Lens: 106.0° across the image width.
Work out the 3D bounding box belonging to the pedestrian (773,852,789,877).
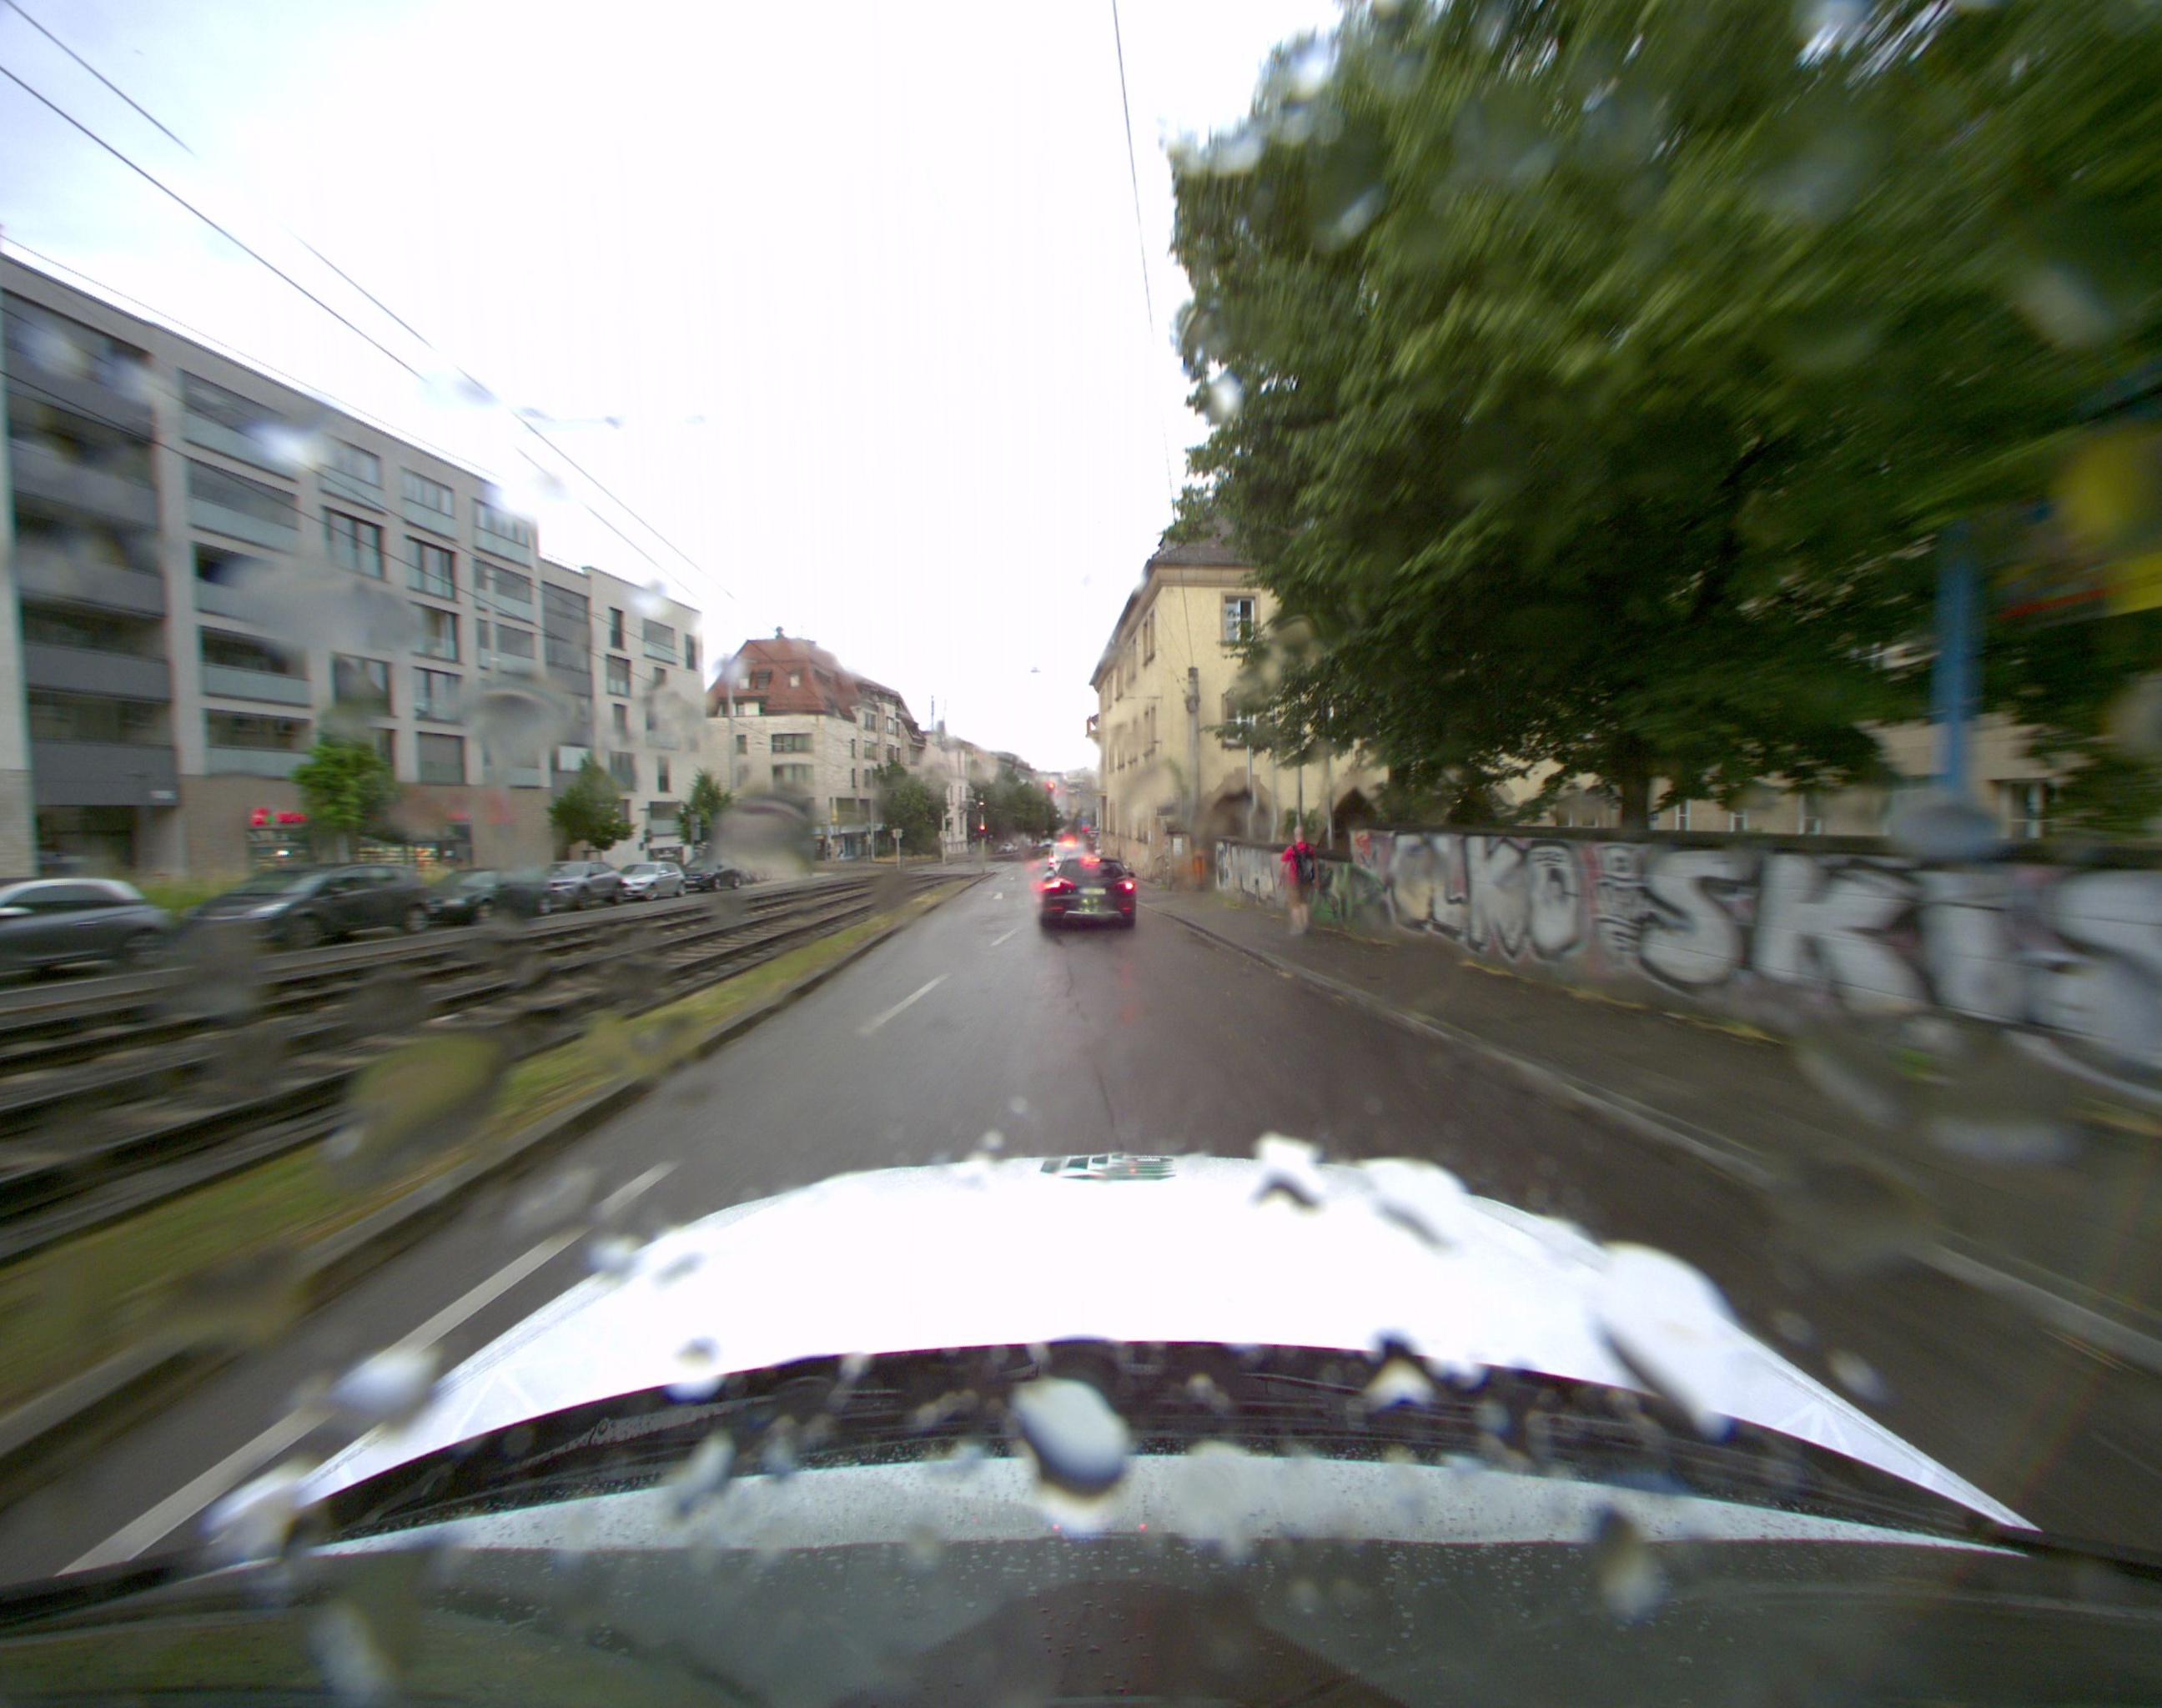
[{"bbox_3d":[-24.540,0.836,66.621,0.940,2.013,0.764,-1,0,-4],"label":"pedestrian"}]

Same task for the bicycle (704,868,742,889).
[{"bbox_3d":[-18.896,1.291,43.001,1.799,1.064,0.455,0,0,-15],"label":"bicycle"}]

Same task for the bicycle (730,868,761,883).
[{"bbox_3d":[-20.103,1.300,48.791,1.652,0.866,0.566,0,0,-14],"label":"bicycle"}]

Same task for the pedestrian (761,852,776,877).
[{"bbox_3d":[-25.553,0.856,66.587,0.941,2.013,0.763,-1,0,-8],"label":"pedestrian"}]

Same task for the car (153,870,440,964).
[{"bbox_3d":[-15.484,1.142,16.486,1.715,1.513,4.314,-2,0,-3],"label":"car"}]

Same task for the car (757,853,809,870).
[{"bbox_3d":[-27.607,0.687,75.475,4.113,1.568,1.826,-1,0,5],"label":"car"}]

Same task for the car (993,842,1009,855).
[{"bbox_3d":[-12.450,-0.840,127.271,1.986,2.013,4.001,-1,0,1],"label":"car"}]

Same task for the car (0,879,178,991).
[{"bbox_3d":[-15.419,1.149,11.496,1.545,1.435,3.447,-2,0,-3],"label":"car"}]

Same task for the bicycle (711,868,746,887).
[{"bbox_3d":[-19.475,1.301,45.005,1.763,1.071,0.485,0,0,-1],"label":"bicycle"}]

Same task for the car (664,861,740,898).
[{"bbox_3d":[-17.450,1.135,37.719,1.910,1.504,4.227,-2,0,-7],"label":"car"}]

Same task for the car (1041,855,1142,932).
[{"bbox_3d":[0.101,0.765,17.576,1.916,1.479,3.995,0,0,-3],"label":"car"}]

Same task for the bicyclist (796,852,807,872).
[{"bbox_3d":[-21.765,0.621,63.366,0.705,1.574,0.457,0,0,-40],"label":"bicyclist"}]

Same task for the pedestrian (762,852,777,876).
[{"bbox_3d":[-26.143,0.854,68.351,0.941,2.013,0.763,-1,0,-8],"label":"pedestrian"}]

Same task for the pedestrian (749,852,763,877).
[{"bbox_3d":[-26.806,0.876,67.187,0.941,2.013,0.763,-1,0,-8],"label":"pedestrian"}]

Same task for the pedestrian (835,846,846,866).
[{"bbox_3d":[-23.502,0.203,79.514,0.904,1.931,0.823,-1,0,-7],"label":"pedestrian"}]

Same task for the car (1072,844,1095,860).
[{"bbox_3d":[0.296,-0.241,90.435,1.983,1.772,4.008,-1,0,7],"label":"car"}]

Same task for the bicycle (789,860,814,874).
[{"bbox_3d":[-21.736,1.032,63.384,1.812,1.064,0.452,0,0,-40],"label":"bicycle"}]

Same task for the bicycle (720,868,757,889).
[{"bbox_3d":[-18.540,1.318,44.124,1.801,1.064,0.455,0,0,-18],"label":"bicycle"}]

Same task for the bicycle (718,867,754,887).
[{"bbox_3d":[-19.459,1.286,45.980,1.801,1.064,0.455,0,0,-18],"label":"bicycle"}]

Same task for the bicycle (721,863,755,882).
[{"bbox_3d":[-19.695,1.055,46.833,1.804,1.108,0.452,0,0,-24],"label":"bicycle"}]

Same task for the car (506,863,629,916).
[{"bbox_3d":[-16.419,1.082,26.286,1.771,1.504,3.912,-2,0,-7],"label":"car"}]

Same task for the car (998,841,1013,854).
[{"bbox_3d":[-12.390,-1.027,133.577,1.986,2.013,4.001,-1,0,1],"label":"car"}]

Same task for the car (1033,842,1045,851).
[{"bbox_3d":[-8.423,-1.516,163.923,1.986,1.662,4.001,-1,0,1],"label":"car"}]

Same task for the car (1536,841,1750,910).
[{"bbox_3d":[14.928,0.540,21.843,4.429,1.588,1.798,-2,2,4],"label":"car"}]

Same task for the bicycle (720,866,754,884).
[{"bbox_3d":[-20.220,1.238,47.924,1.800,1.064,0.566,0,0,-16],"label":"bicycle"}]

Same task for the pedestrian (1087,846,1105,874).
[{"bbox_3d":[0.989,0.377,53.703,1.043,1.795,0.900,-1,0,-6],"label":"pedestrian"}]

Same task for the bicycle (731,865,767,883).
[{"bbox_3d":[-20.367,1.229,49.956,1.951,1.028,0.718,0,0,-13],"label":"bicycle"}]

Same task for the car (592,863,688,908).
[{"bbox_3d":[-16.732,1.156,31.116,1.771,1.504,4.074,-2,0,-7],"label":"car"}]

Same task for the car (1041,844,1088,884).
[{"bbox_3d":[-0.837,0.434,39.667,2.131,1.745,4.215,-2,1,-2],"label":"car"}]

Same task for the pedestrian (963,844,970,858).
[{"bbox_3d":[-17.375,-0.427,123.414,0.942,2.013,0.761,-1,0,-13],"label":"pedestrian"}]

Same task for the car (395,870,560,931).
[{"bbox_3d":[-15.832,1.159,21.644,1.545,1.362,4.006,0,0,-3],"label":"car"}]

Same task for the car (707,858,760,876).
[{"bbox_3d":[-32.434,1.169,76.101,4.113,1.568,1.826,-1,0,5],"label":"car"}]

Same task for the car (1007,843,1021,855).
[{"bbox_3d":[-11.460,-0.786,139.955,1.986,2.013,4.001,-1,0,1],"label":"car"}]

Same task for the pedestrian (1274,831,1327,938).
[{"bbox_3d":[3.640,0.491,13.564,0.631,1.721,0.710,-1,0,-2],"label":"pedestrian"}]
